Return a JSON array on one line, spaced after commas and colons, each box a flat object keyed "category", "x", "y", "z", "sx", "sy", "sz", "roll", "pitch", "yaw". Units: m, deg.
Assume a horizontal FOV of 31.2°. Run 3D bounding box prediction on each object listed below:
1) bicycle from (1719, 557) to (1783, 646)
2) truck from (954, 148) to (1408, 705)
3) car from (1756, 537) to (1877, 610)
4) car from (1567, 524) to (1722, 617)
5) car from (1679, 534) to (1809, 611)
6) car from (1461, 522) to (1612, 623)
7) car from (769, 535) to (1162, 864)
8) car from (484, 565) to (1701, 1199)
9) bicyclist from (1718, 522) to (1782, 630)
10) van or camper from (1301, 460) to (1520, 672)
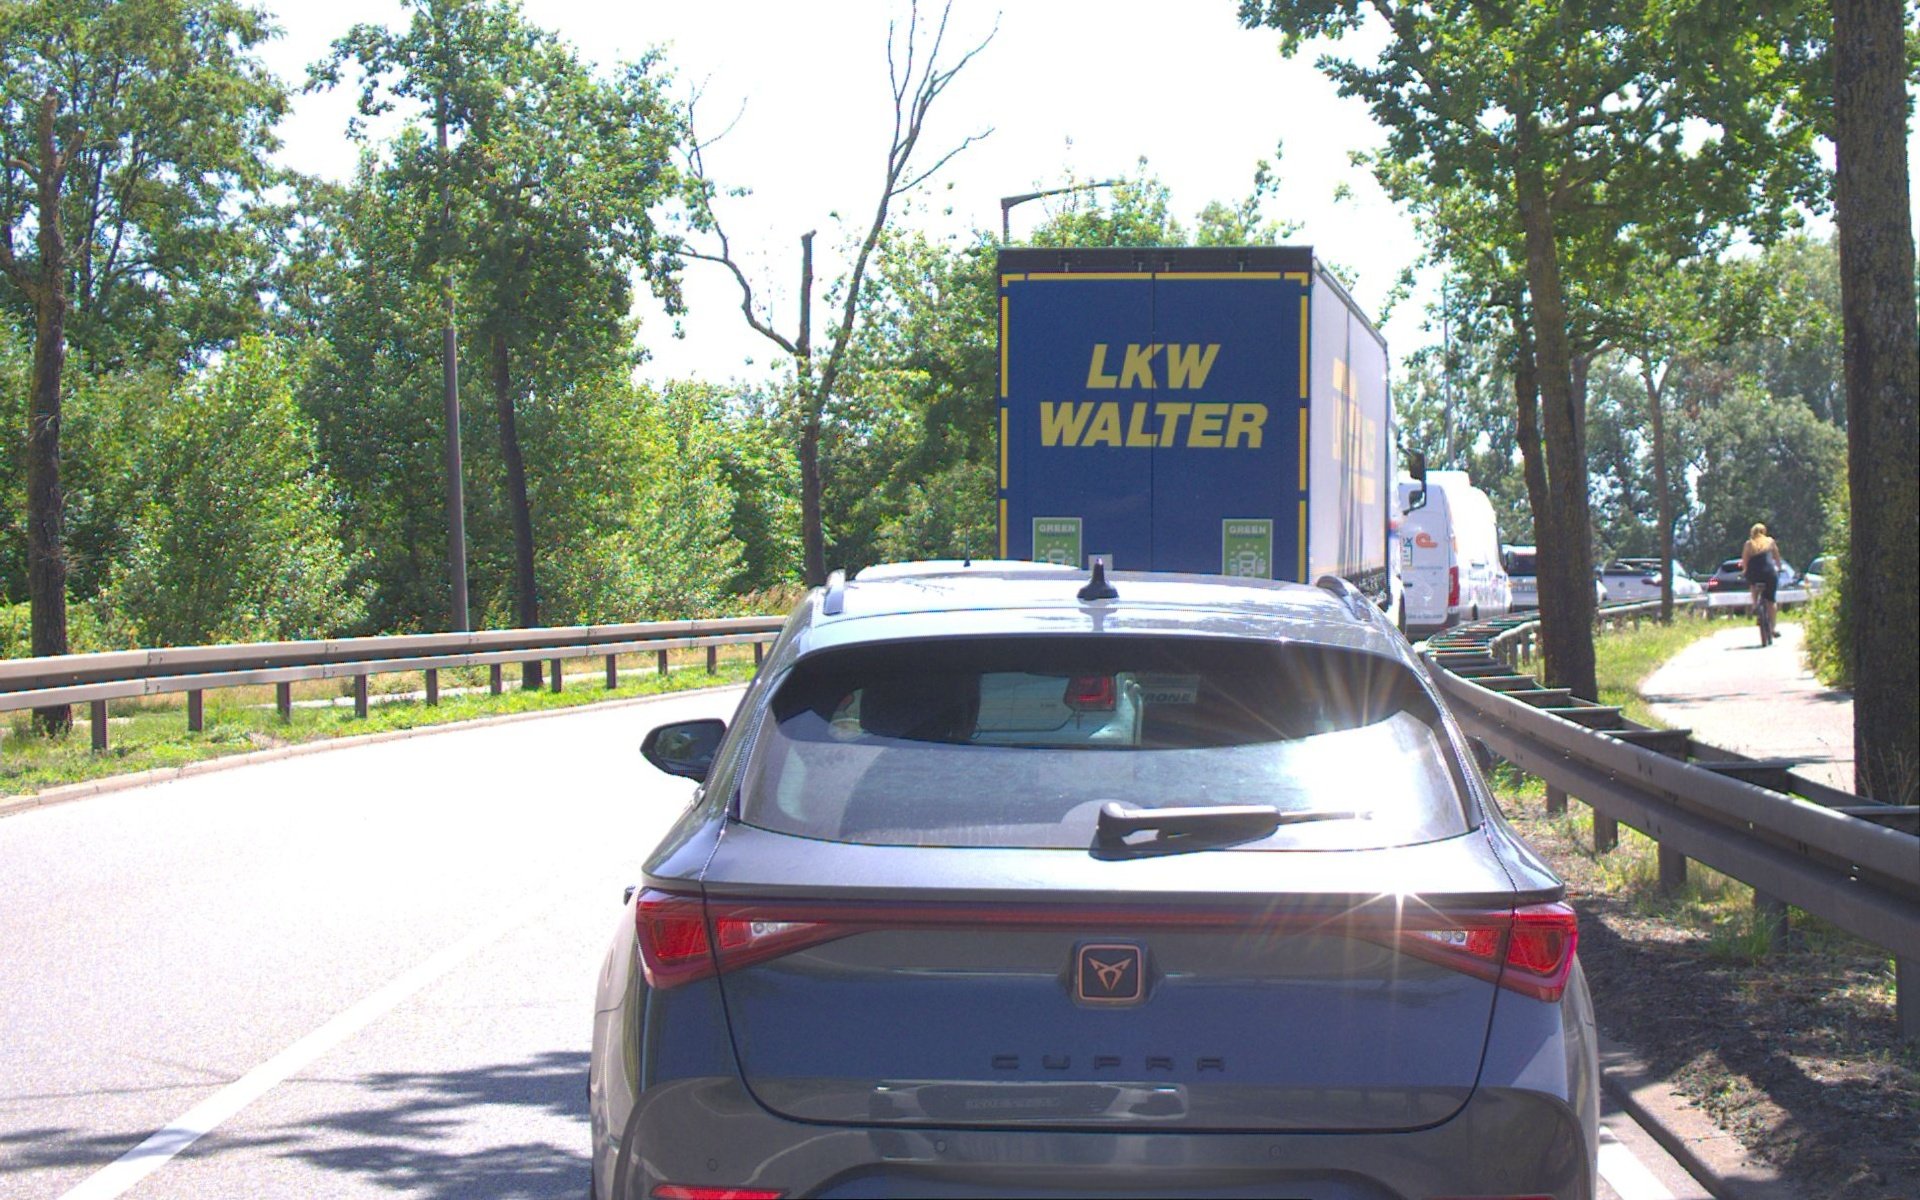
[{"category": "bicycle", "x": 11.322, "y": 0.007, "z": 49.270, "sx": 0.861, "sy": 1.232, "sz": 2.308, "roll": 1, "pitch": 1, "yaw": 12}, {"category": "truck", "x": 2.837, "y": -1.469, "z": 35.863, "sx": 2.951, "sy": 4.433, "sz": 16.791, "roll": 1, "pitch": 1, "yaw": 10}, {"category": "car", "x": 21.650, "y": -0.661, "z": 86.786, "sx": 1.996, "sy": 1.762, "sz": 4.748, "roll": 1, "pitch": 1, "yaw": 26}, {"category": "car", "x": 13.870, "y": -0.594, "z": 69.448, "sx": 1.996, "sy": 1.802, "sz": 4.839, "roll": 1, "pitch": 1, "yaw": 24}, {"category": "car", "x": 18.273, "y": -0.632, "z": 79.982, "sx": 1.996, "sy": 1.711, "sz": 4.862, "roll": 1, "pitch": 1, "yaw": 24}, {"category": "car", "x": 10.311, "y": -0.489, "z": 61.254, "sx": 1.995, "sy": 1.706, "sz": 4.616, "roll": 1, "pitch": 1, "yaw": 18}, {"category": "car", "x": 0.122, "y": 0.440, "z": 17.962, "sx": 1.809, "sy": 1.503, "sz": 4.000, "roll": 1, "pitch": 1, "yaw": 3}, {"category": "car", "x": 0.151, "y": 0.656, "z": 6.899, "sx": 1.744, "sy": 1.427, "sz": 3.880, "roll": 1, "pitch": 1, "yaw": -1}, {"category": "bicyclist", "x": 11.316, "y": -0.340, "z": 49.256, "sx": 0.861, "sy": 1.518, "sz": 0.980, "roll": 1, "pitch": 0, "yaw": 12}, {"category": "van or camper", "x": 6.861, "y": -0.512, "z": 51.763, "sx": 2.468, "sy": 2.988, "sz": 6.082, "roll": 1, "pitch": 1, "yaw": 15}]
